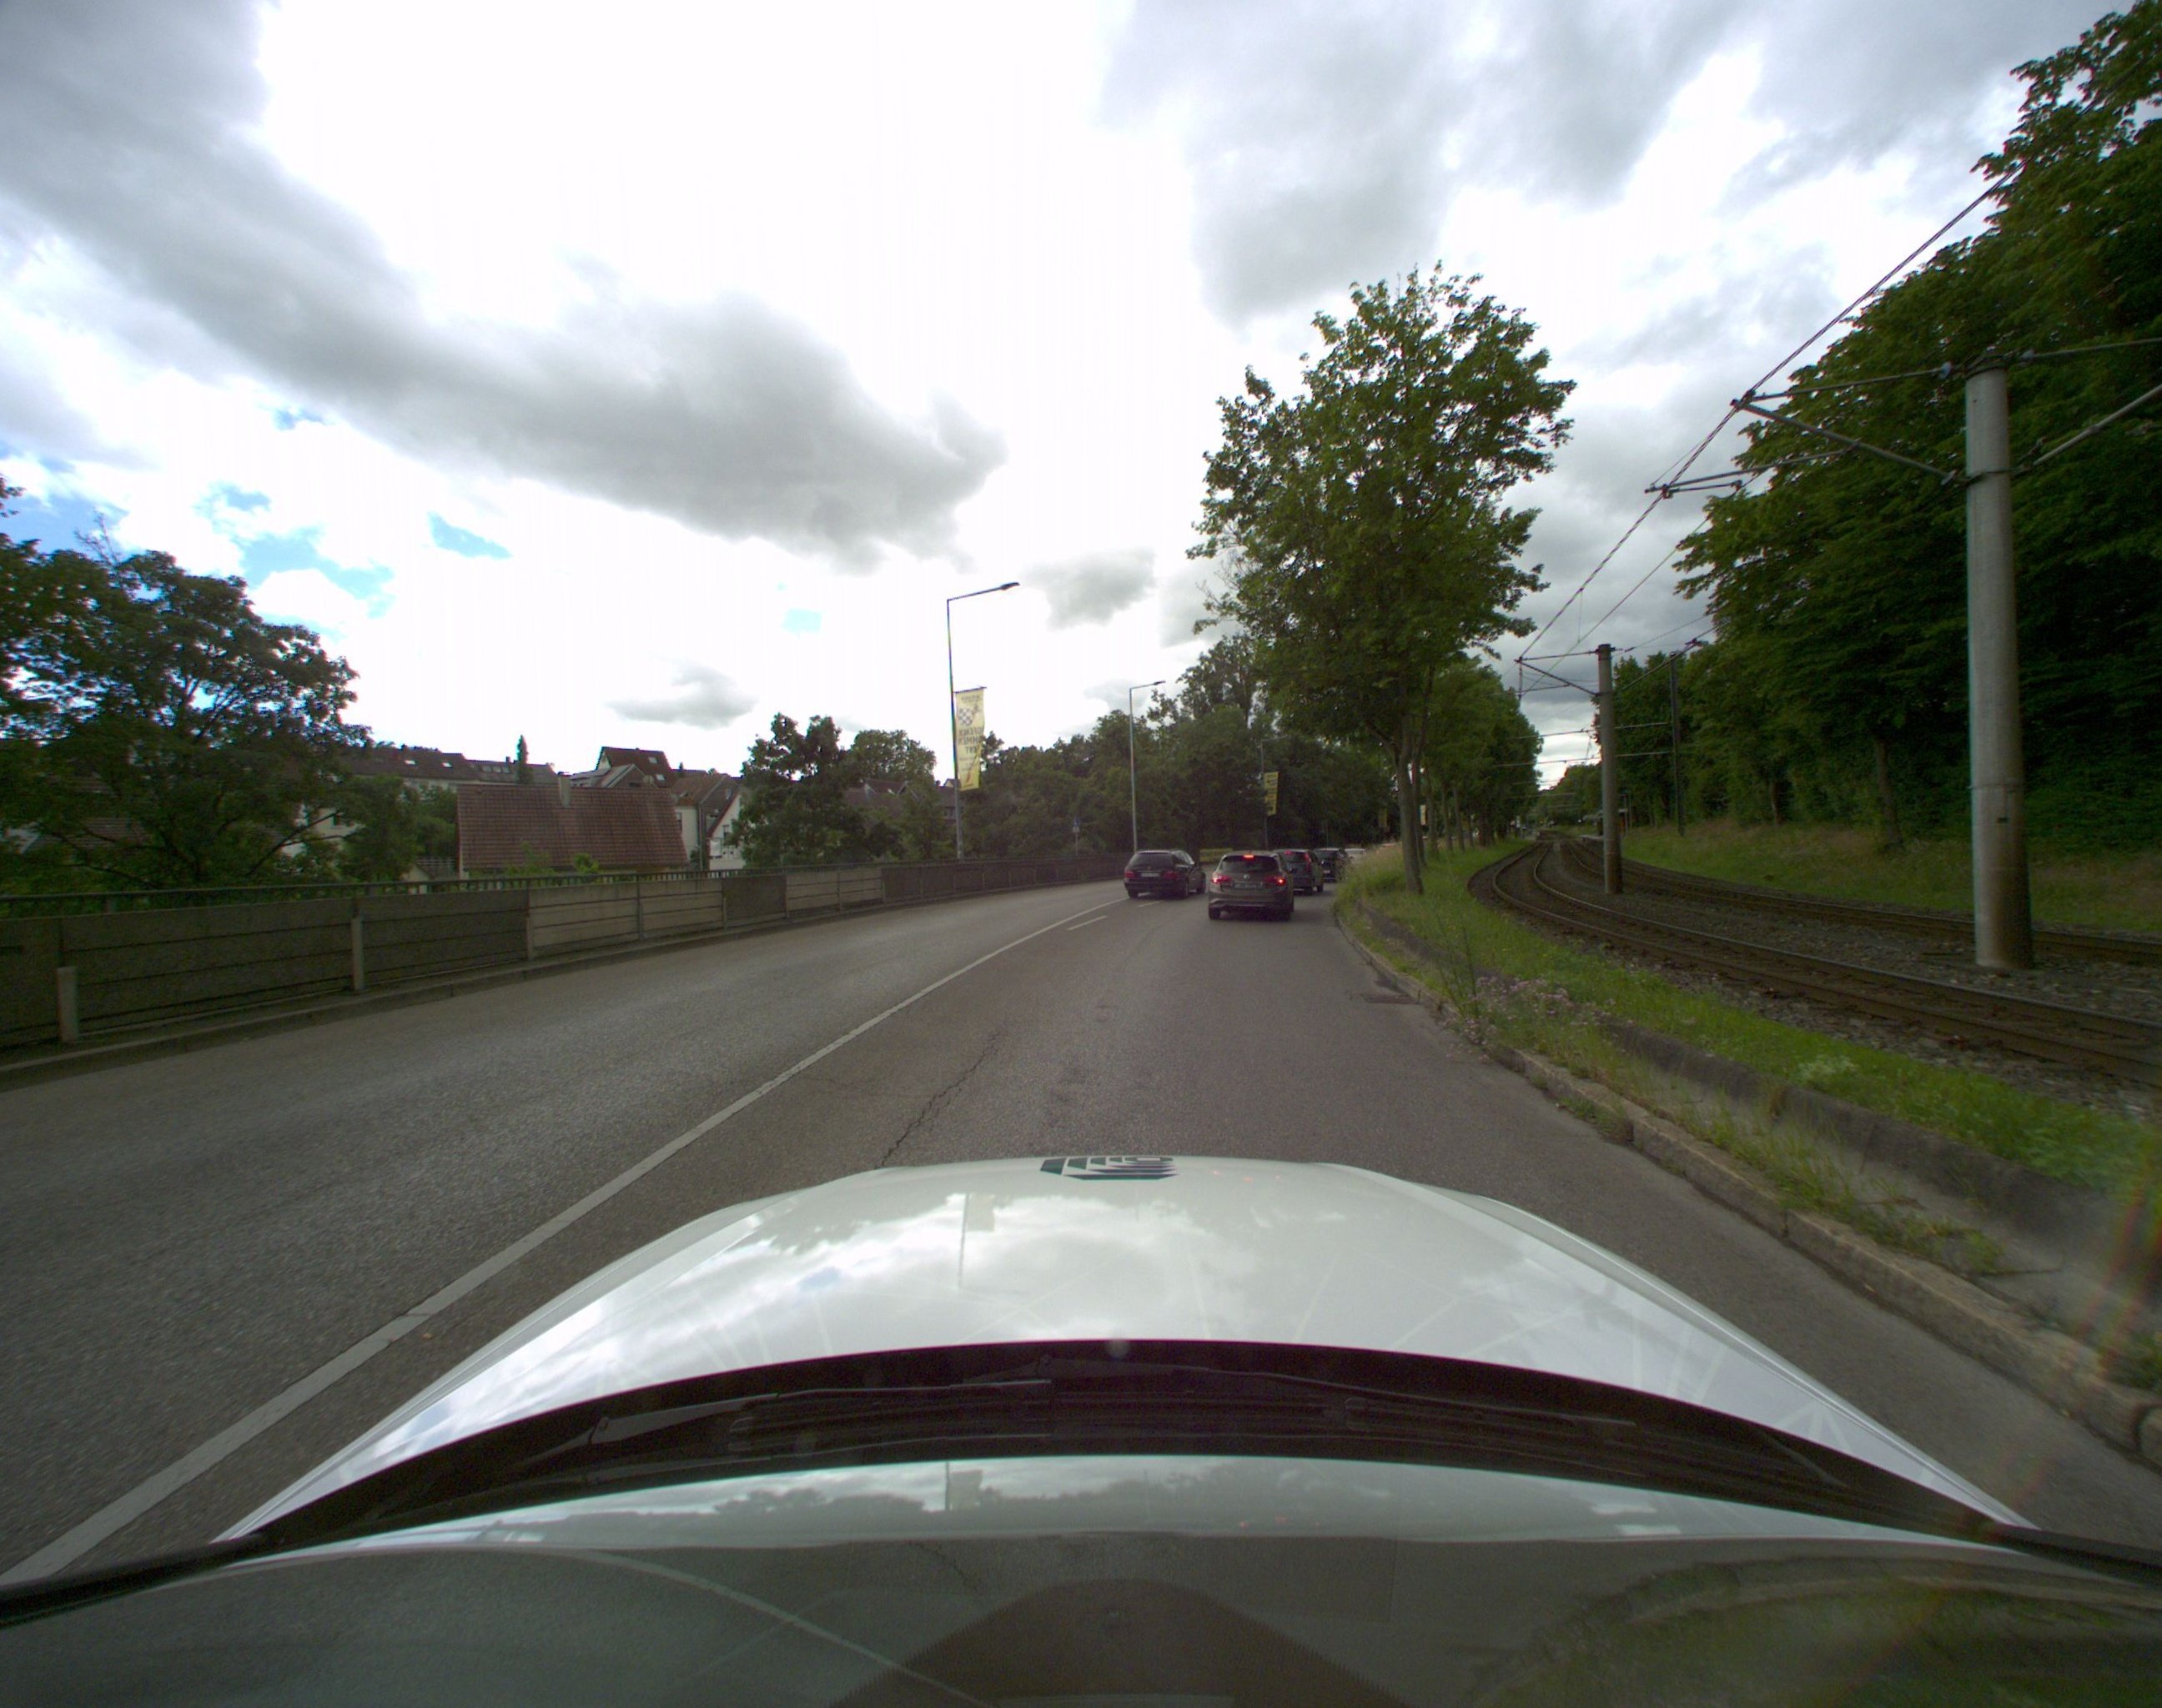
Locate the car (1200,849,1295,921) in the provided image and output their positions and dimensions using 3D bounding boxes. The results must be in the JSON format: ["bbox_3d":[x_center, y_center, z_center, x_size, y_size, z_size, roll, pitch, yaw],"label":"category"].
[{"bbox_3d":[3.996,0.646,19.106,1.760,1.494,4.018,0,0,18],"label":"car"}]

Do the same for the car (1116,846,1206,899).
[{"bbox_3d":[2.635,0.532,25.721,1.836,1.486,4.442,-1,1,19],"label":"car"}]

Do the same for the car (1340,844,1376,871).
[{"bbox_3d":[15.233,0.198,44.727,1.487,1.364,3.607,-2,-1,24],"label":"car"}]

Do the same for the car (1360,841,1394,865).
[{"bbox_3d":[20.226,-0.083,55.528,1.788,1.540,4.023,0,0,26],"label":"car"}]

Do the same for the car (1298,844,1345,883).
[{"bbox_3d":[10.434,0.393,35.225,1.564,1.538,4.021,-2,-1,21],"label":"car"}]

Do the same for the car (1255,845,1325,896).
[{"bbox_3d":[7.087,0.527,27.346,1.877,1.574,4.020,-1,-1,20],"label":"car"}]

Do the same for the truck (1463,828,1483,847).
[{"bbox_3d":[86.964,-3.685,180.559,2.629,3.938,10.176,-1,1,34],"label":"truck"}]
